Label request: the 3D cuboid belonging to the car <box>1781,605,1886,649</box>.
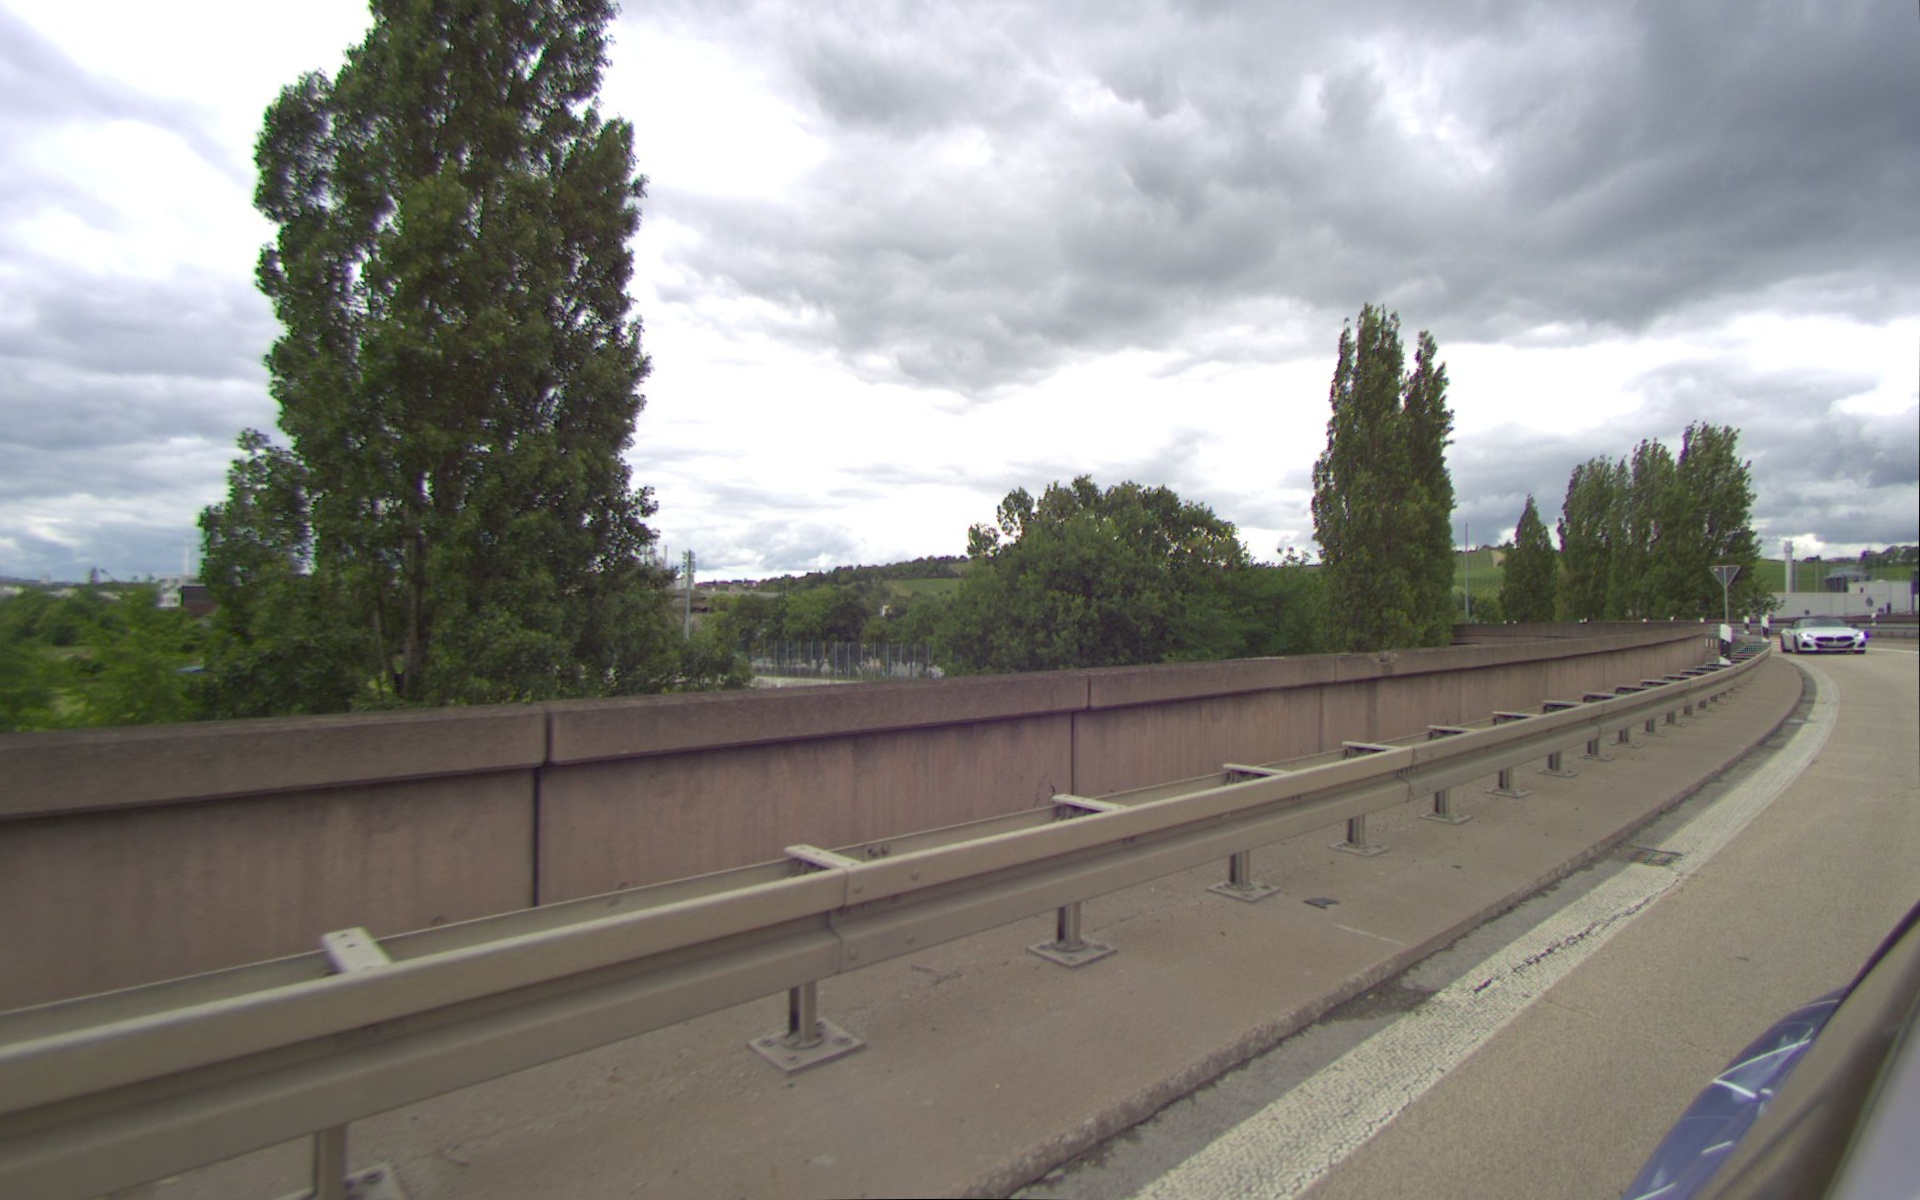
[{"bbox_3d":[30.757,0.909,35.796,1.848,1.362,4.774,-3,-1,30],"label":"car"}]
